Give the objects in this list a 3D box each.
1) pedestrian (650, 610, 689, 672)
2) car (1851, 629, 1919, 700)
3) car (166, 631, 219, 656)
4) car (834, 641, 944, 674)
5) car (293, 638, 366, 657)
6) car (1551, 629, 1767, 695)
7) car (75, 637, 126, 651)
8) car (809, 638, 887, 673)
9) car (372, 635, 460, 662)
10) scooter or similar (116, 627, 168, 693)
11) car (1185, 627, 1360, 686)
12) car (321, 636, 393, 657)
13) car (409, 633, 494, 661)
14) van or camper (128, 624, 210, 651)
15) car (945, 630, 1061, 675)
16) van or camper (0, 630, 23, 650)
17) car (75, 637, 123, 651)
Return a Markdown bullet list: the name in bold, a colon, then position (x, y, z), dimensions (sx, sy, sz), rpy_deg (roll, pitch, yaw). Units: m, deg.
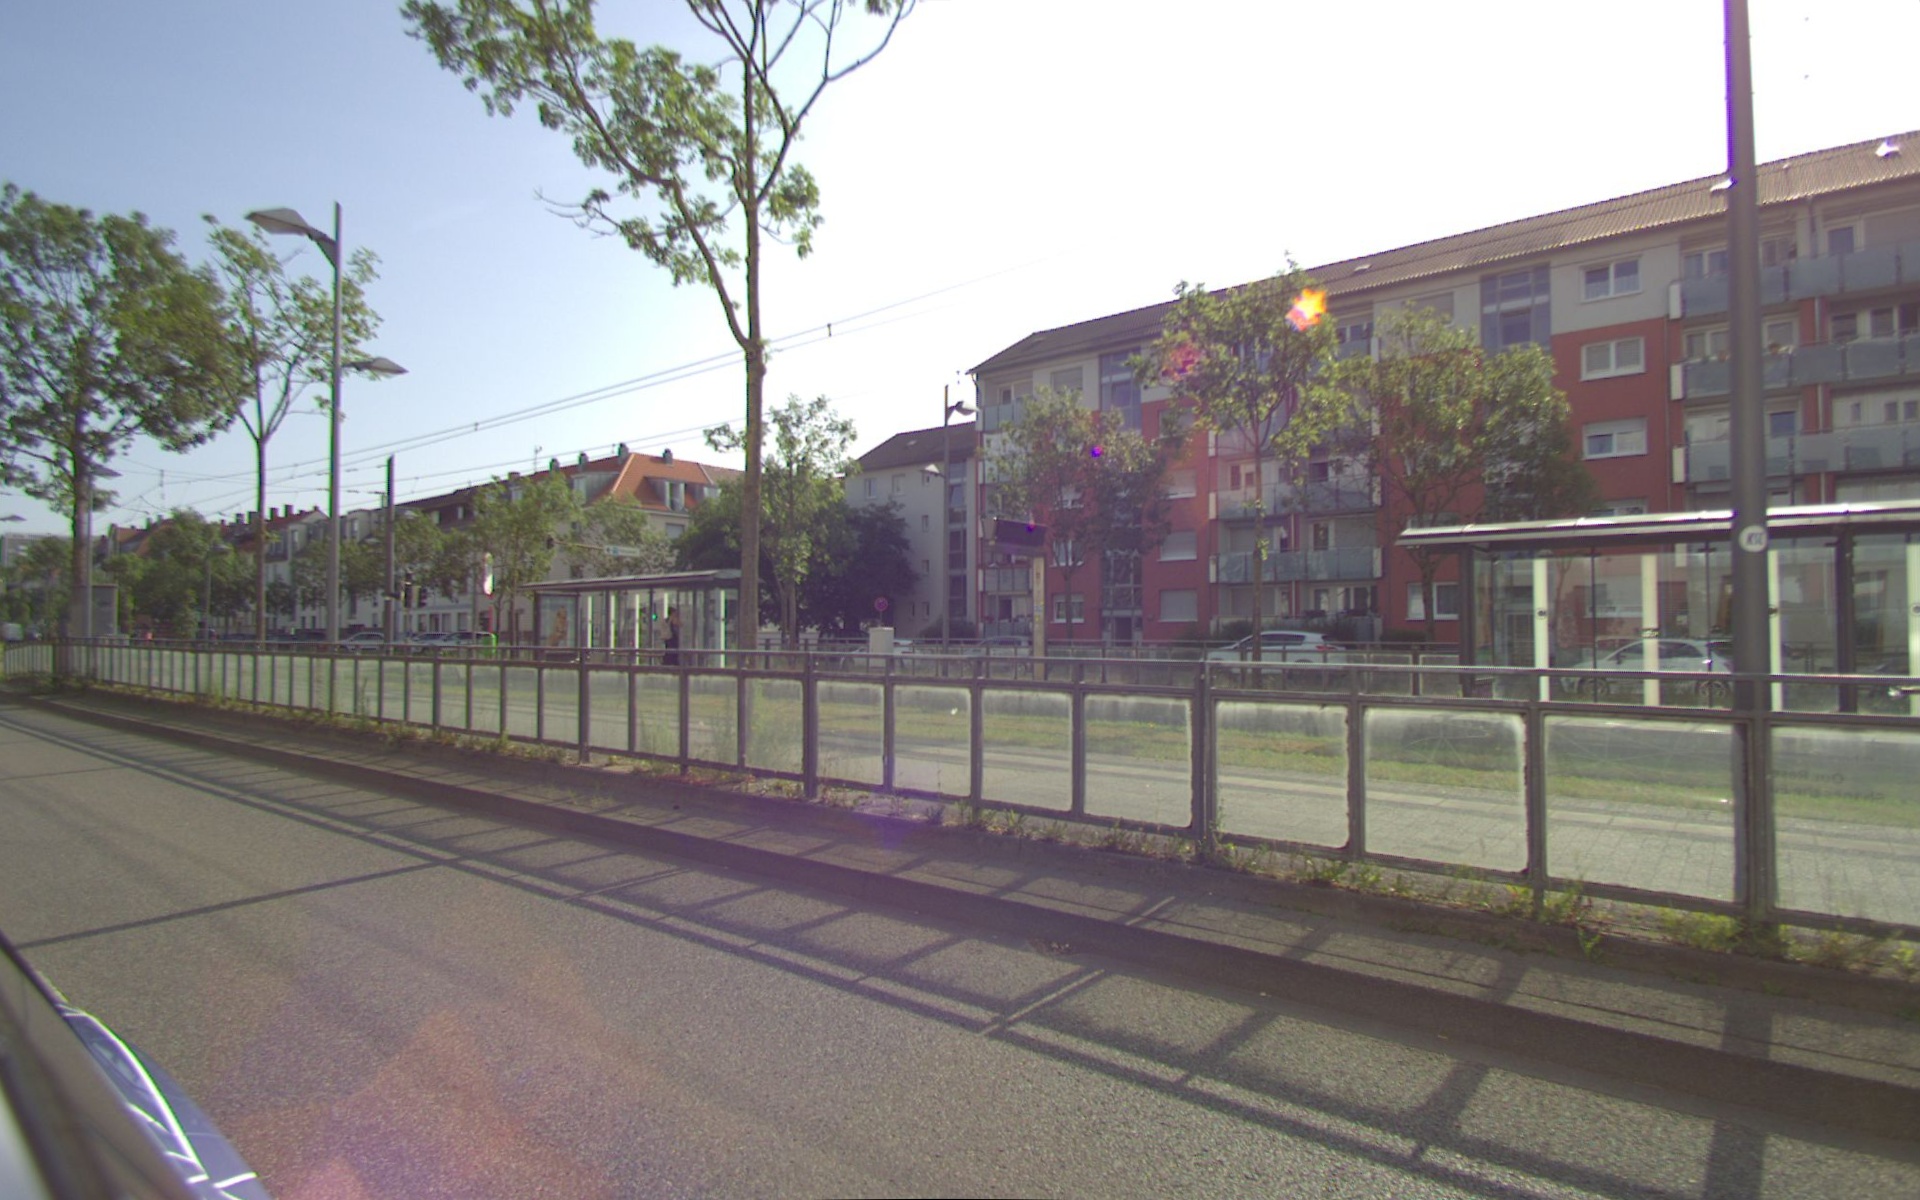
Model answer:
- **pedestrian**: position (-7.830, 1.101, 27.301), dimensions (0.793, 1.666, 0.666), rpy_deg (-1, -3, 35)
- **car**: position (20.661, 1.293, 20.295), dimensions (4.064, 1.371, 1.961), rpy_deg (-2, -1, 39)
- **car**: position (-57.212, 3.221, 75.441), dimensions (4.707, 1.719, 1.974), rpy_deg (-2, -5, 38)
- **car**: position (-2.818, 2.217, 39.732), dimensions (4.160, 1.156, 1.815), rpy_deg (-2, -1, 39)
- **car**: position (-43.669, 3.320, 70.190), dimensions (3.931, 1.268, 1.881), rpy_deg (1, -3, -18)
- **car**: position (16.508, 1.417, 23.999), dimensions (4.064, 1.371, 1.961), rpy_deg (-2, -1, 39)
- **car**: position (-101.937, 5.181, 120.067), dimensions (4.294, 1.486, 1.862), rpy_deg (-1, -1, -13)
- **car**: position (-6.127, 3.037, 55.615), dimensions (1.998, 1.708, 3.947), rpy_deg (-2, -1, 40)
- **car**: position (-33.323, 2.954, 62.080), dimensions (4.390, 1.526, 2.005), rpy_deg (-1, -1, -14)
- **scooter or similar**: position (-15.926, 1.159, 19.726), dimensions (0.420, 1.248, 1.266), rpy_deg (1, -3, -23)
- **car**: position (9.204, 1.629, 29.967), dimensions (4.532, 1.568, 1.961), rpy_deg (-2, -1, 39)
- **car**: position (-40.694, 3.140, 68.387), dimensions (3.931, 1.279, 1.893), rpy_deg (-1, -1, -21)
- **car**: position (-30.108, 2.795, 60.047), dimensions (4.278, 1.474, 1.969), rpy_deg (-1, -1, -17)
- **van or camper**: position (-79.486, 3.779, 101.778), dimensions (6.059, 2.566, 2.420), rpy_deg (0, -2, -13)
- **car**: position (1.520, 1.854, 36.372), dimensions (3.822, 1.482, 1.815), rpy_deg (-2, -1, 39)
- **van or camper**: position (-121.457, 5.121, 128.888), dimensions (6.052, 2.493, 2.120), rpy_deg (-2, -4, 39)
- **car**: position (-103.728, 5.333, 121.963), dimensions (4.031, 1.541, 1.818), rpy_deg (-1, -1, -13)
